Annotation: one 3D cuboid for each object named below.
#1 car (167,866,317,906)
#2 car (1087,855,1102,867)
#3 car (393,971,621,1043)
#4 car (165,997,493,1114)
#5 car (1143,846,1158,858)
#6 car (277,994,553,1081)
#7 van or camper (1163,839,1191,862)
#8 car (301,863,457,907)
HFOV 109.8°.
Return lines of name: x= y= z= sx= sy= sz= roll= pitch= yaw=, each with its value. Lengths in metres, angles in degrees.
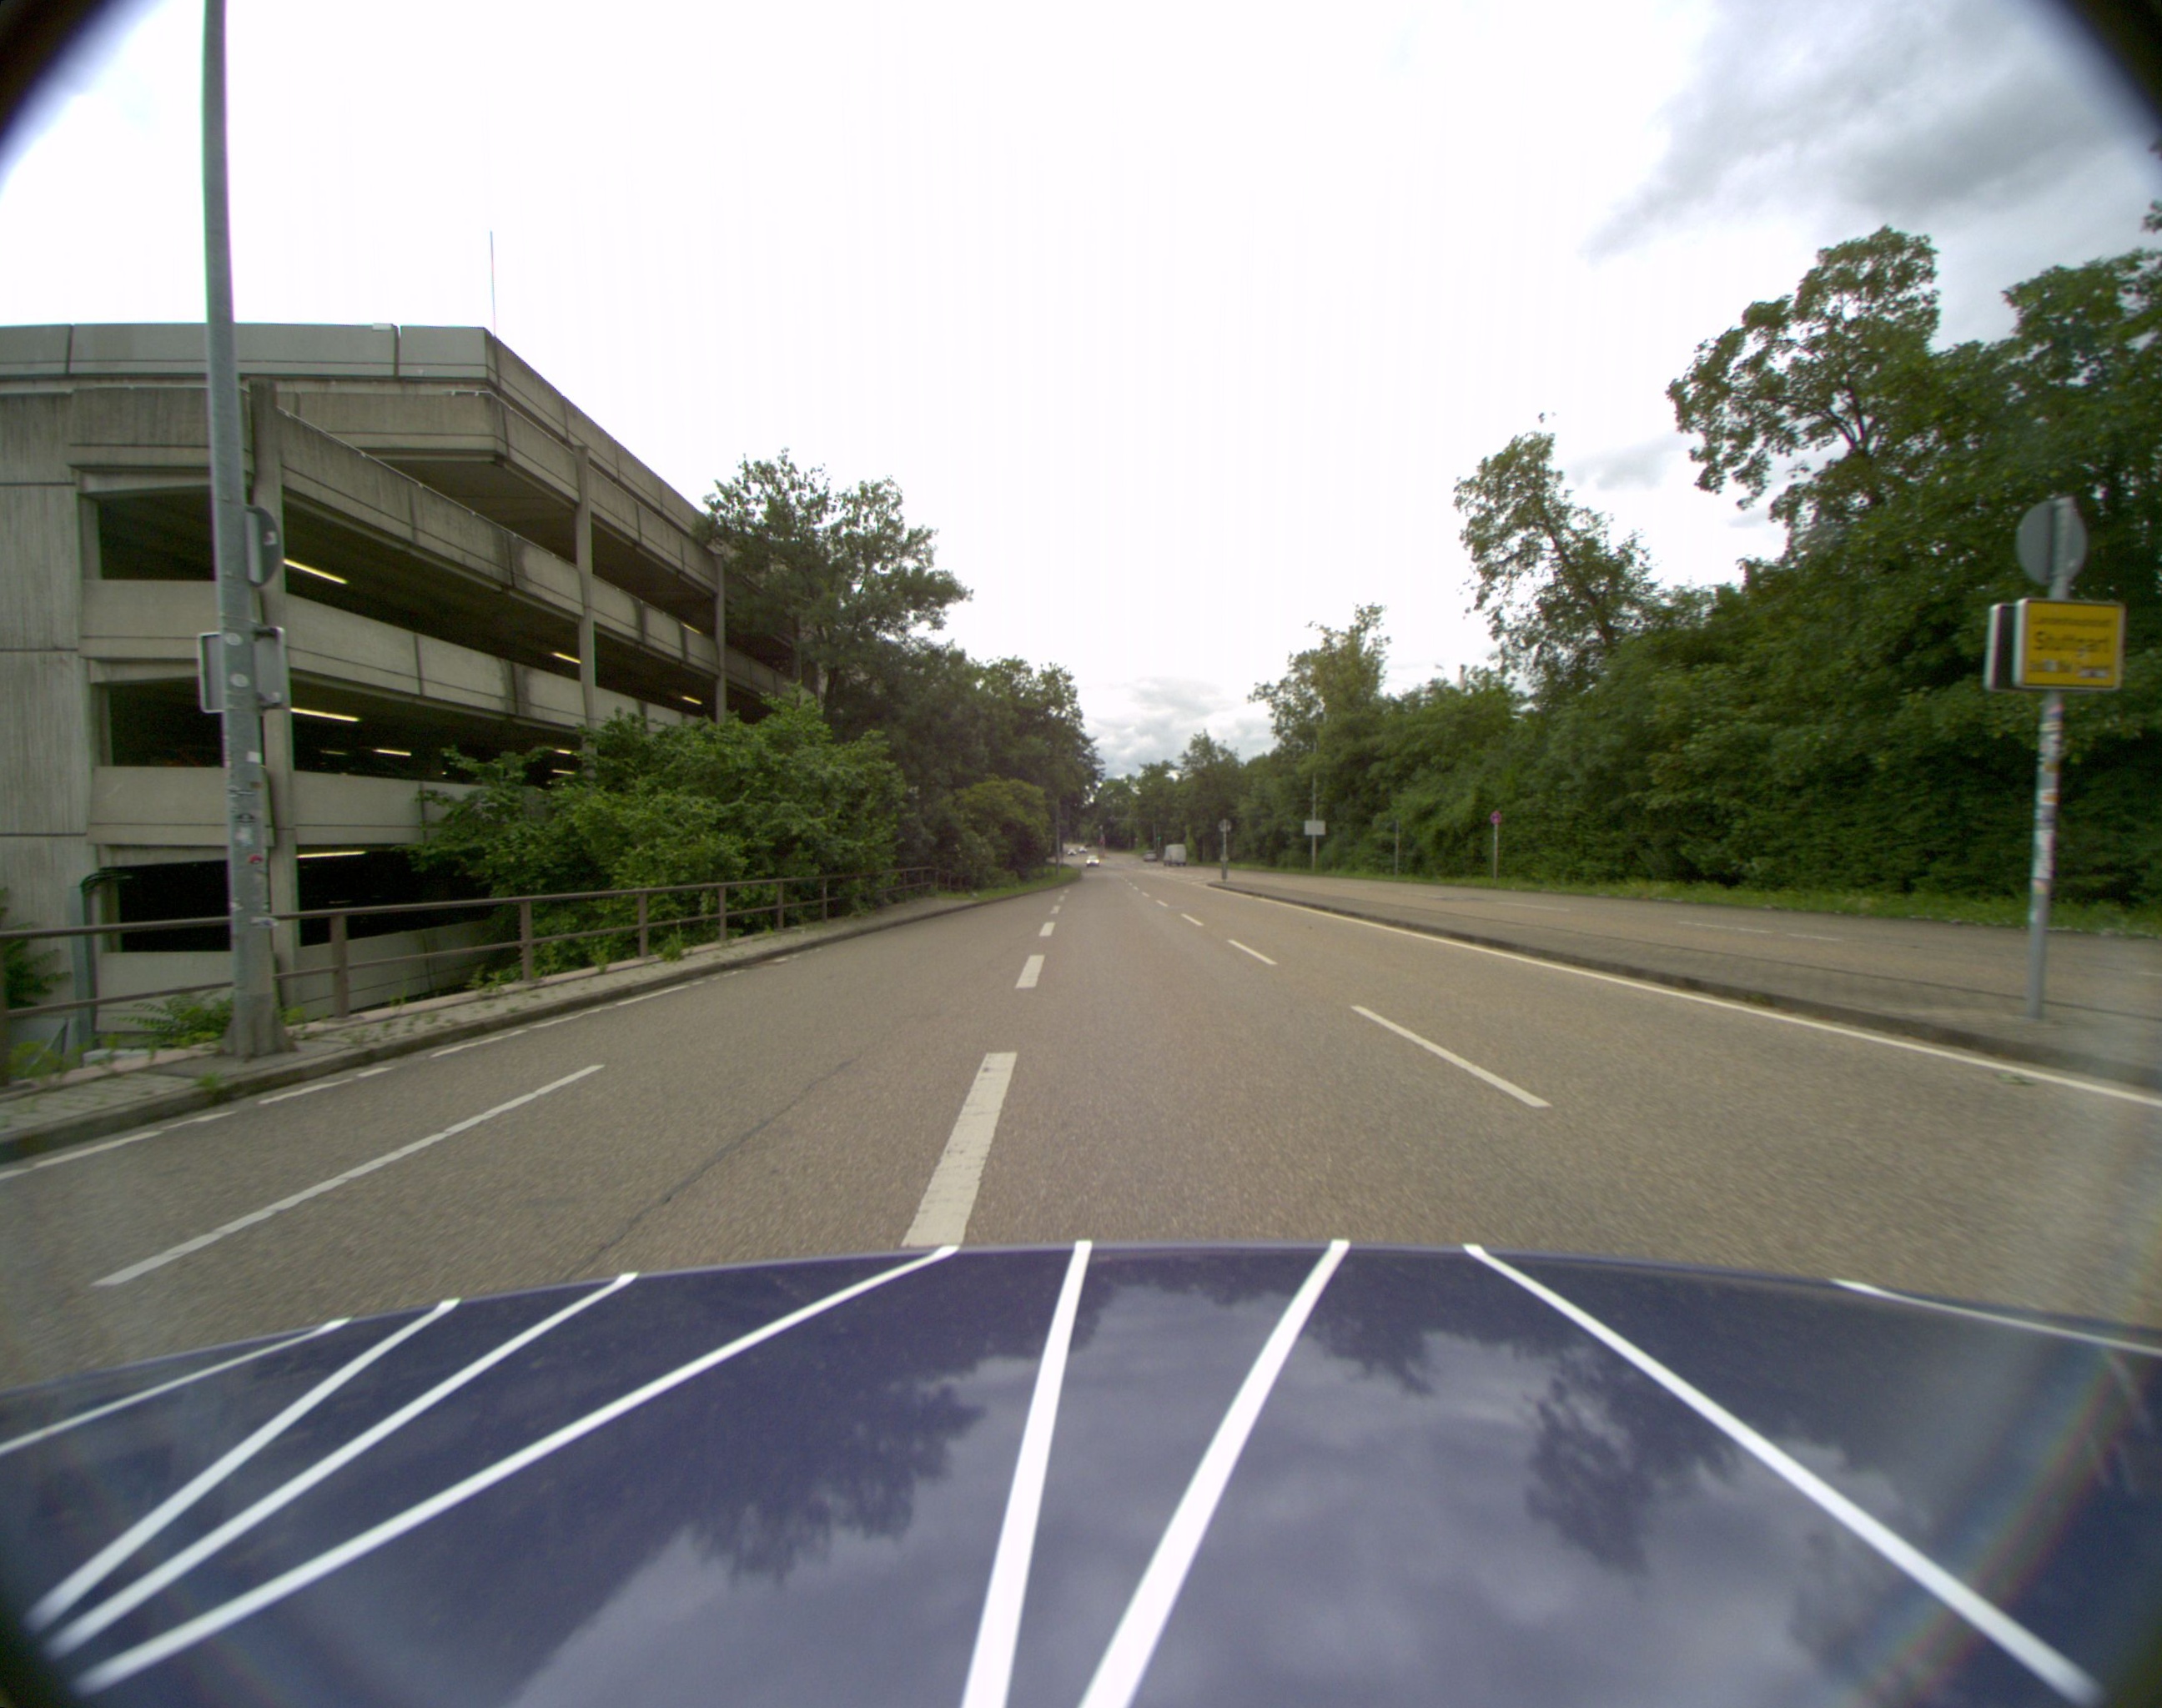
car: x=-32.159 y=1.208 z=29.199 sx=3.680 sy=1.412 sz=1.717 roll=-1 pitch=0 yaw=-3
car: x=1.846 y=0.936 z=103.092 sx=1.854 sy=1.470 sz=4.510 roll=-6 pitch=0 yaw=2
car: x=-15.753 y=4.201 z=21.071 sx=4.664 sy=1.422 sz=1.999 roll=-1 pitch=3 yaw=-2
car: x=-15.625 y=4.174 z=16.038 sx=4.757 sy=1.775 sz=1.999 roll=-1 pitch=2 yaw=-2
car: x=11.047 y=-0.347 z=120.773 sx=1.818 sy=1.819 sz=4.383 roll=-1 pitch=0 yaw=-2
car: x=-15.674 y=4.322 z=18.100 sx=4.664 sy=1.422 sz=1.999 roll=-1 pitch=3 yaw=-2
van or camper: x=11.732 y=-0.461 z=93.411 sx=2.289 sy=2.540 sz=6.858 roll=-6 pitch=0 yaw=0
car: x=-26.353 y=1.138 z=28.635 sx=3.997 sy=1.471 sz=1.875 roll=0 pitch=3 yaw=-1
